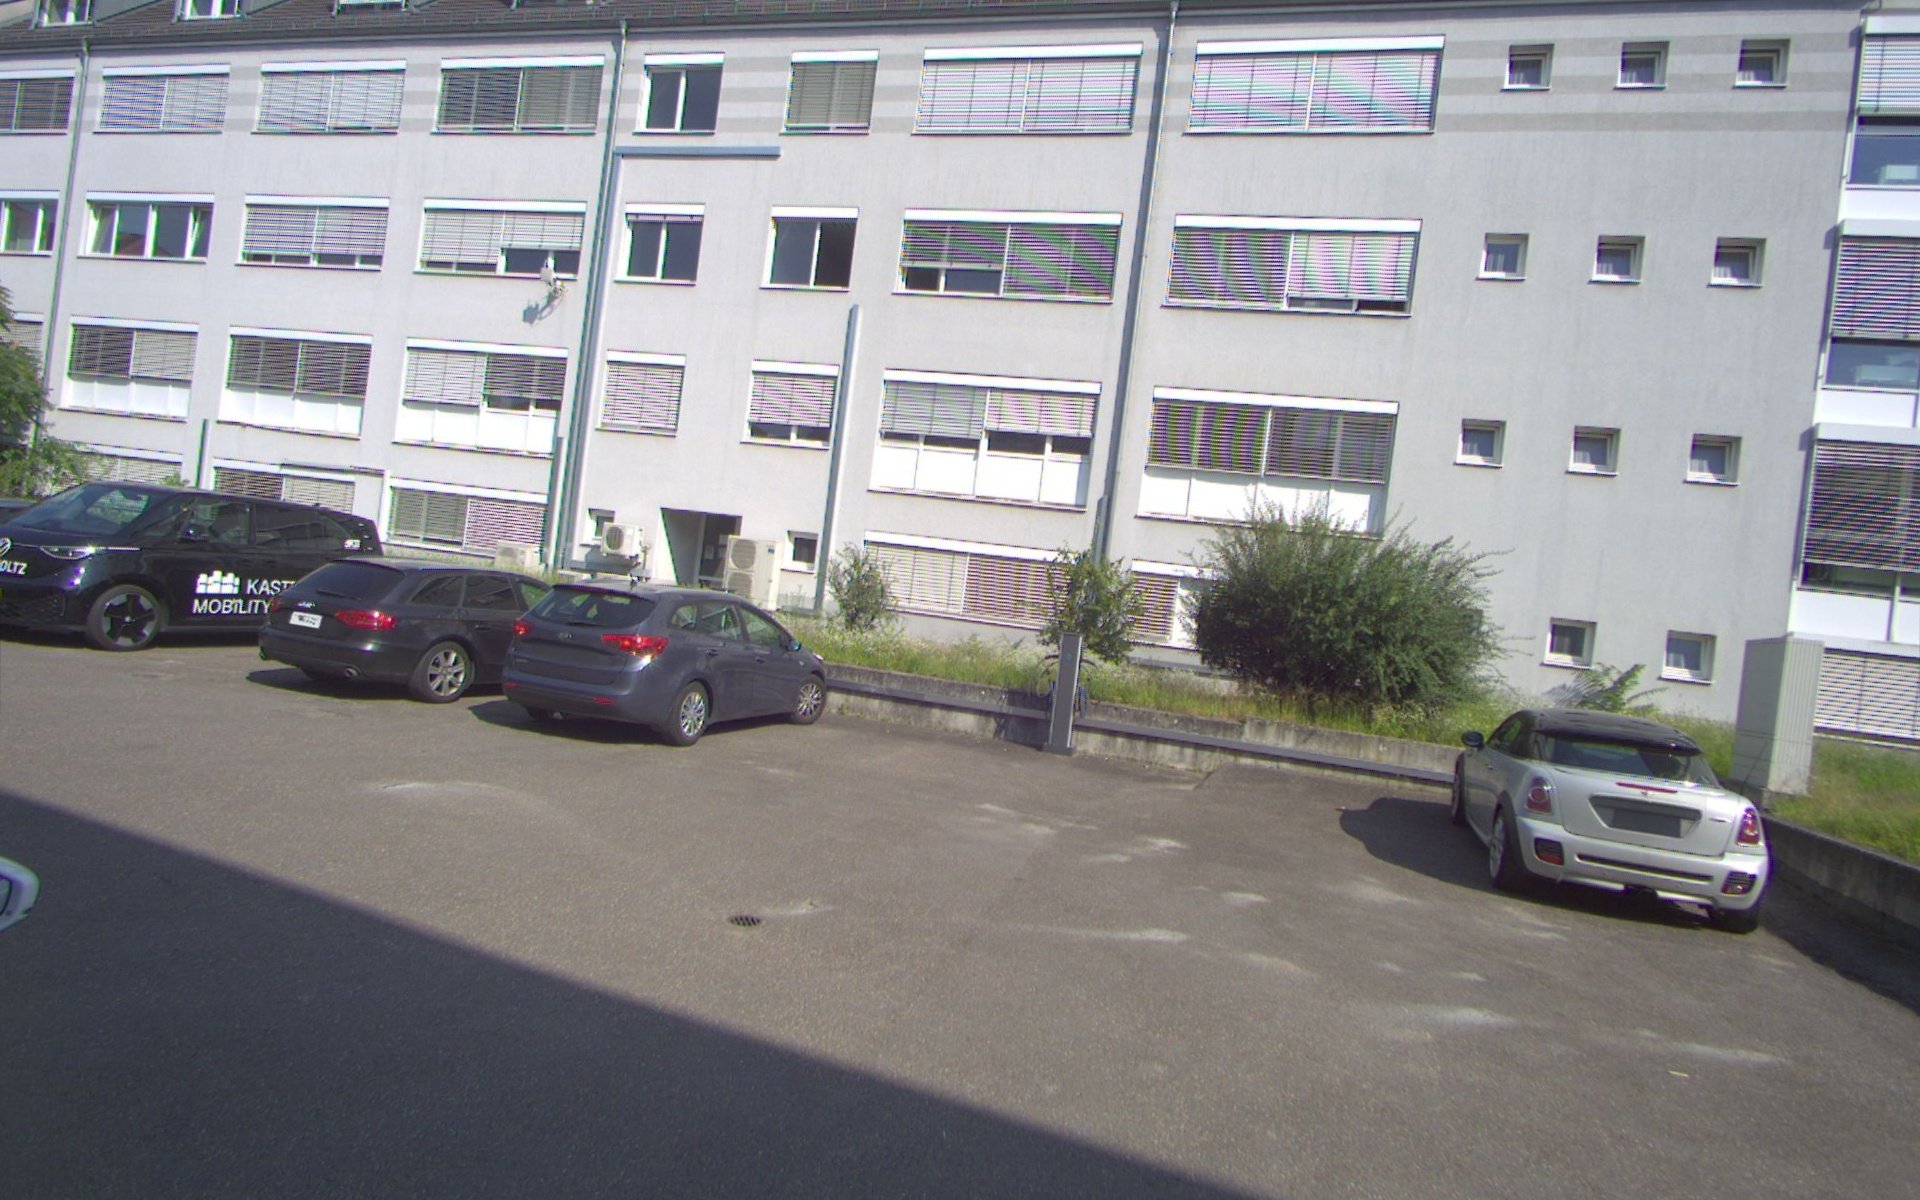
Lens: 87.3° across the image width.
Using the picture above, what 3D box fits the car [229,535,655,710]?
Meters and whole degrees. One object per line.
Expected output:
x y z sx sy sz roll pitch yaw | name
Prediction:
-5.591 0.311 11.557 1.659 1.455 4.247 8 -1 20 | car

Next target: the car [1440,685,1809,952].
5.342 1.617 8.635 1.628 1.455 3.583 8 -1 19 | car

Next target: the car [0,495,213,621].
-12.431 -0.593 13.355 1.631 1.483 3.912 8 -1 8 | car

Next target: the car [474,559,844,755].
-2.921 0.585 10.804 1.709 1.495 4.062 8 -1 17 | car

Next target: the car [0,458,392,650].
-9.657 -0.458 12.572 1.878 1.881 4.352 8 -1 12 | car
